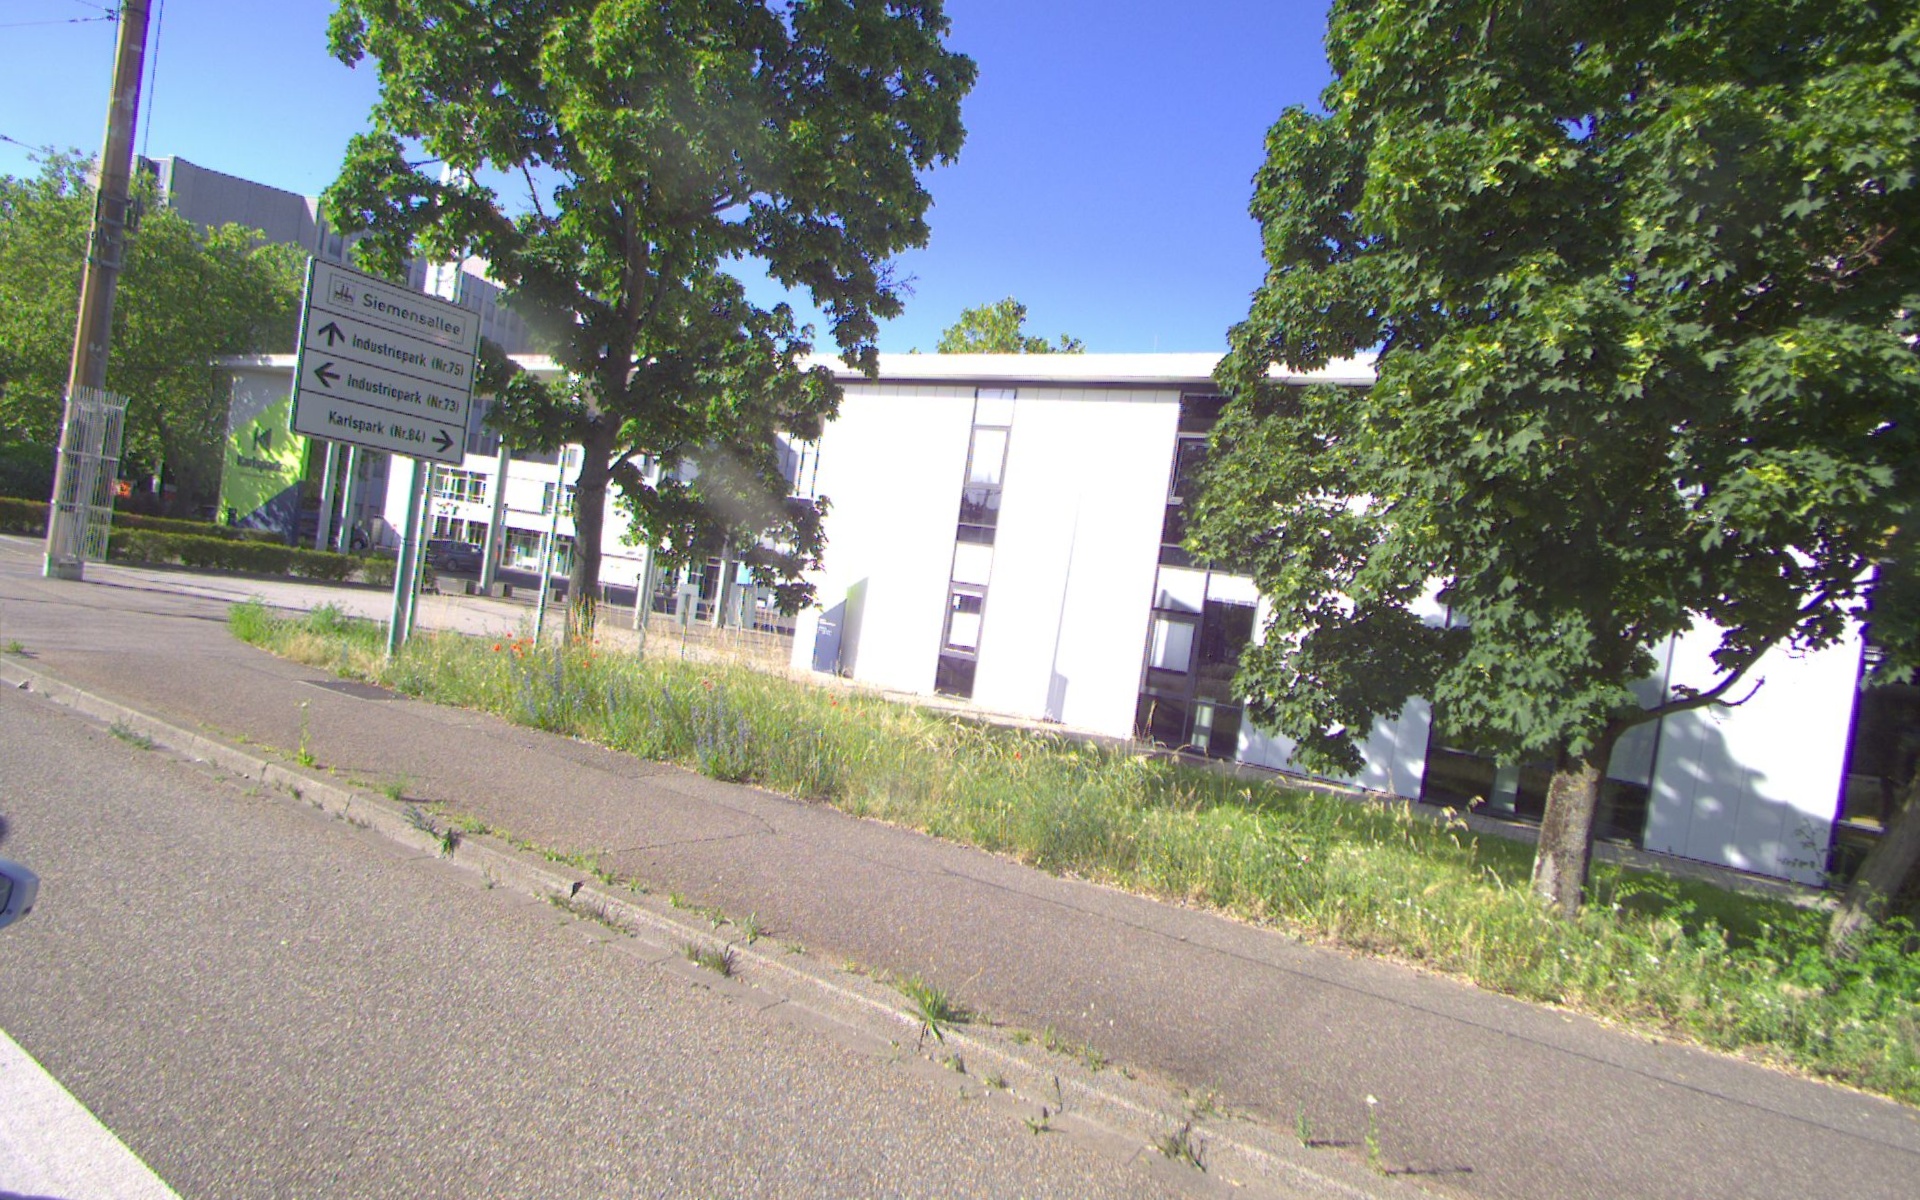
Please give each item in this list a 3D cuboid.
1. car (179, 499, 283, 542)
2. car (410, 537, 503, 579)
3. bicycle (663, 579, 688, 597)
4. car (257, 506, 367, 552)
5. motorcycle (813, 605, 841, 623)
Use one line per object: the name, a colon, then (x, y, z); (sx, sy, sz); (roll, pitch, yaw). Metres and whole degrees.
car: (-42.659, -4.640, 58.964); (1.861, 1.706, 4.468); (8, -1, 26)
car: (-26.681, -2.210, 53.448); (1.918, 1.597, 4.000); (8, -1, 23)
bicycle: (-20.263, -0.864, 71.666); (1.591, 1.016, 0.566); (8, 0, 17)
car: (-36.283, -3.954, 56.505); (2.052, 1.778, 4.900); (8, -1, 17)
motorcycle: (-8.978, 0.917, 67.854); (1.701, 0.959, 0.653); (8, 0, 17)
